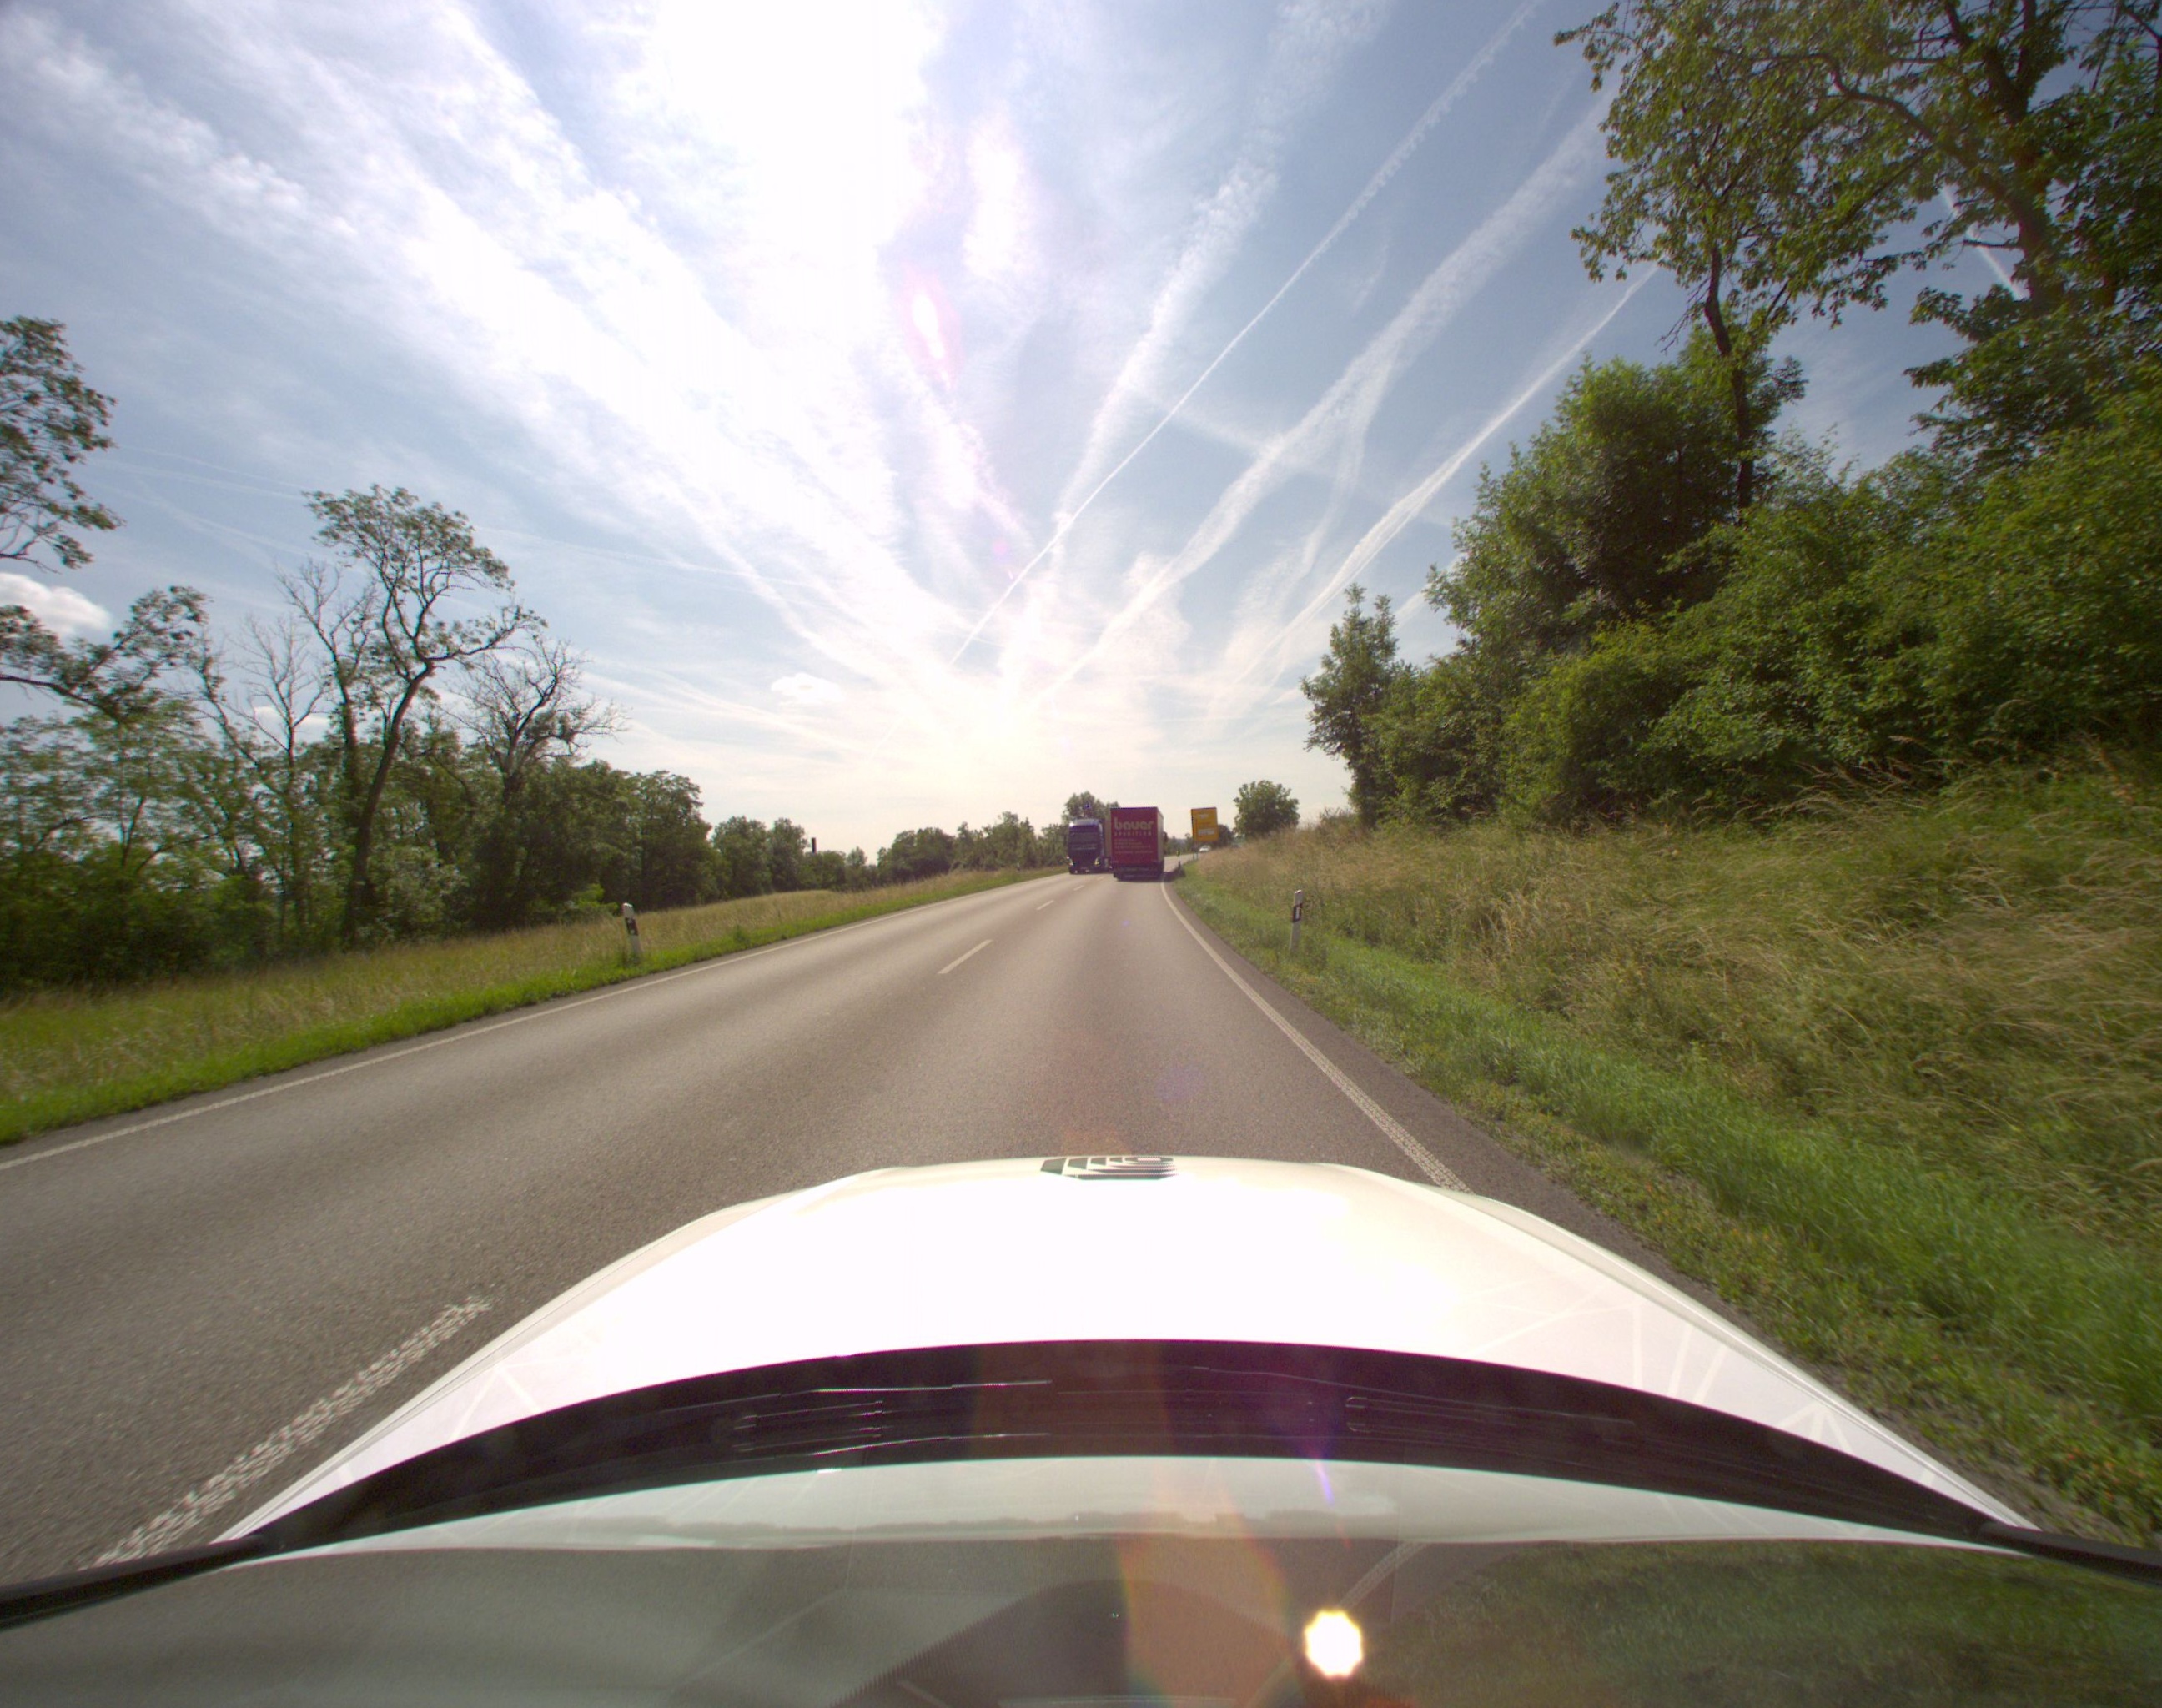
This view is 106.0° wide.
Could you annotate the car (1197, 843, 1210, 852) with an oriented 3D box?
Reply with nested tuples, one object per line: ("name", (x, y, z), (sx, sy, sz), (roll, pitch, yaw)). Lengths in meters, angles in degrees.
("car", (23.449, -1.207, 156.278), (1.777, 1.522, 4.178), (-6, 0, 16))

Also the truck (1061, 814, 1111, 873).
("truck", (0.460, -0.769, 60.768), (2.791, 4.067, 5.999), (-2, 0, 8))

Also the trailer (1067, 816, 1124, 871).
("trailer", (1.436, -0.749, 67.997), (2.980, 4.043, 12.947), (-2, 0, 8))

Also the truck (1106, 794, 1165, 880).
("truck", (3.399, -0.946, 49.531), (3.098, 4.505, 12.183), (-1, 0, 5))

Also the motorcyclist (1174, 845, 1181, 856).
("motorcyclist", (15.706, -0.532, 132.597), (0.912, 1.718, 0.966), (-2, 0, 14))

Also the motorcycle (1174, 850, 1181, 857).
("motorcycle", (15.745, -0.112, 132.725), (0.752, 0.994, 2.288), (4, 2, 14))
